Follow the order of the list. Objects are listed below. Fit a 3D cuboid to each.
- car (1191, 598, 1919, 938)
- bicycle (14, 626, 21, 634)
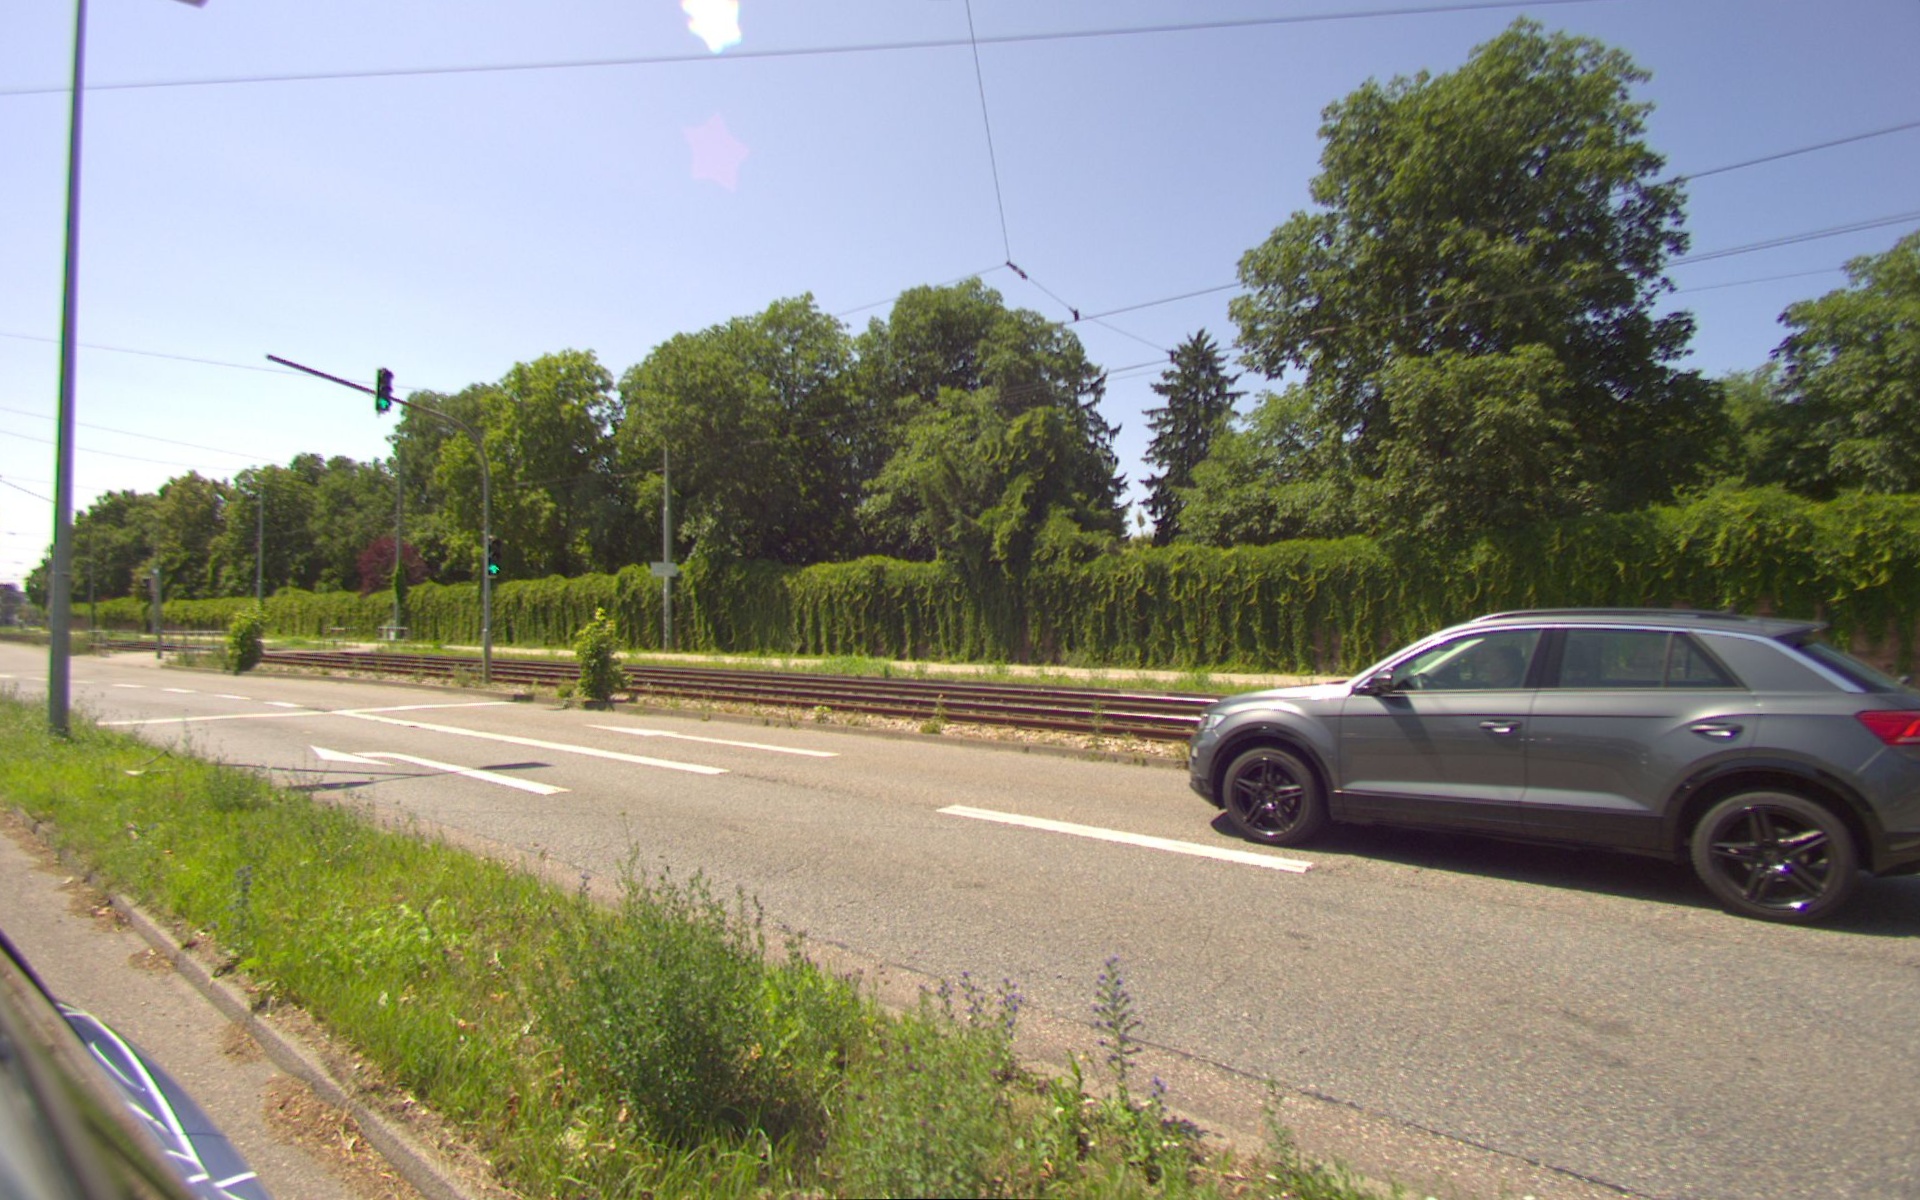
[{"bbox_3d":[3.661,0.806,6.203,4.062,1.524,1.680,-2,-2,40],"label":"car"},{"bbox_3d":[-137.174,4.324,147.309,1.978,1.063,0.609,-1,0,44],"label":"bicycle"}]
